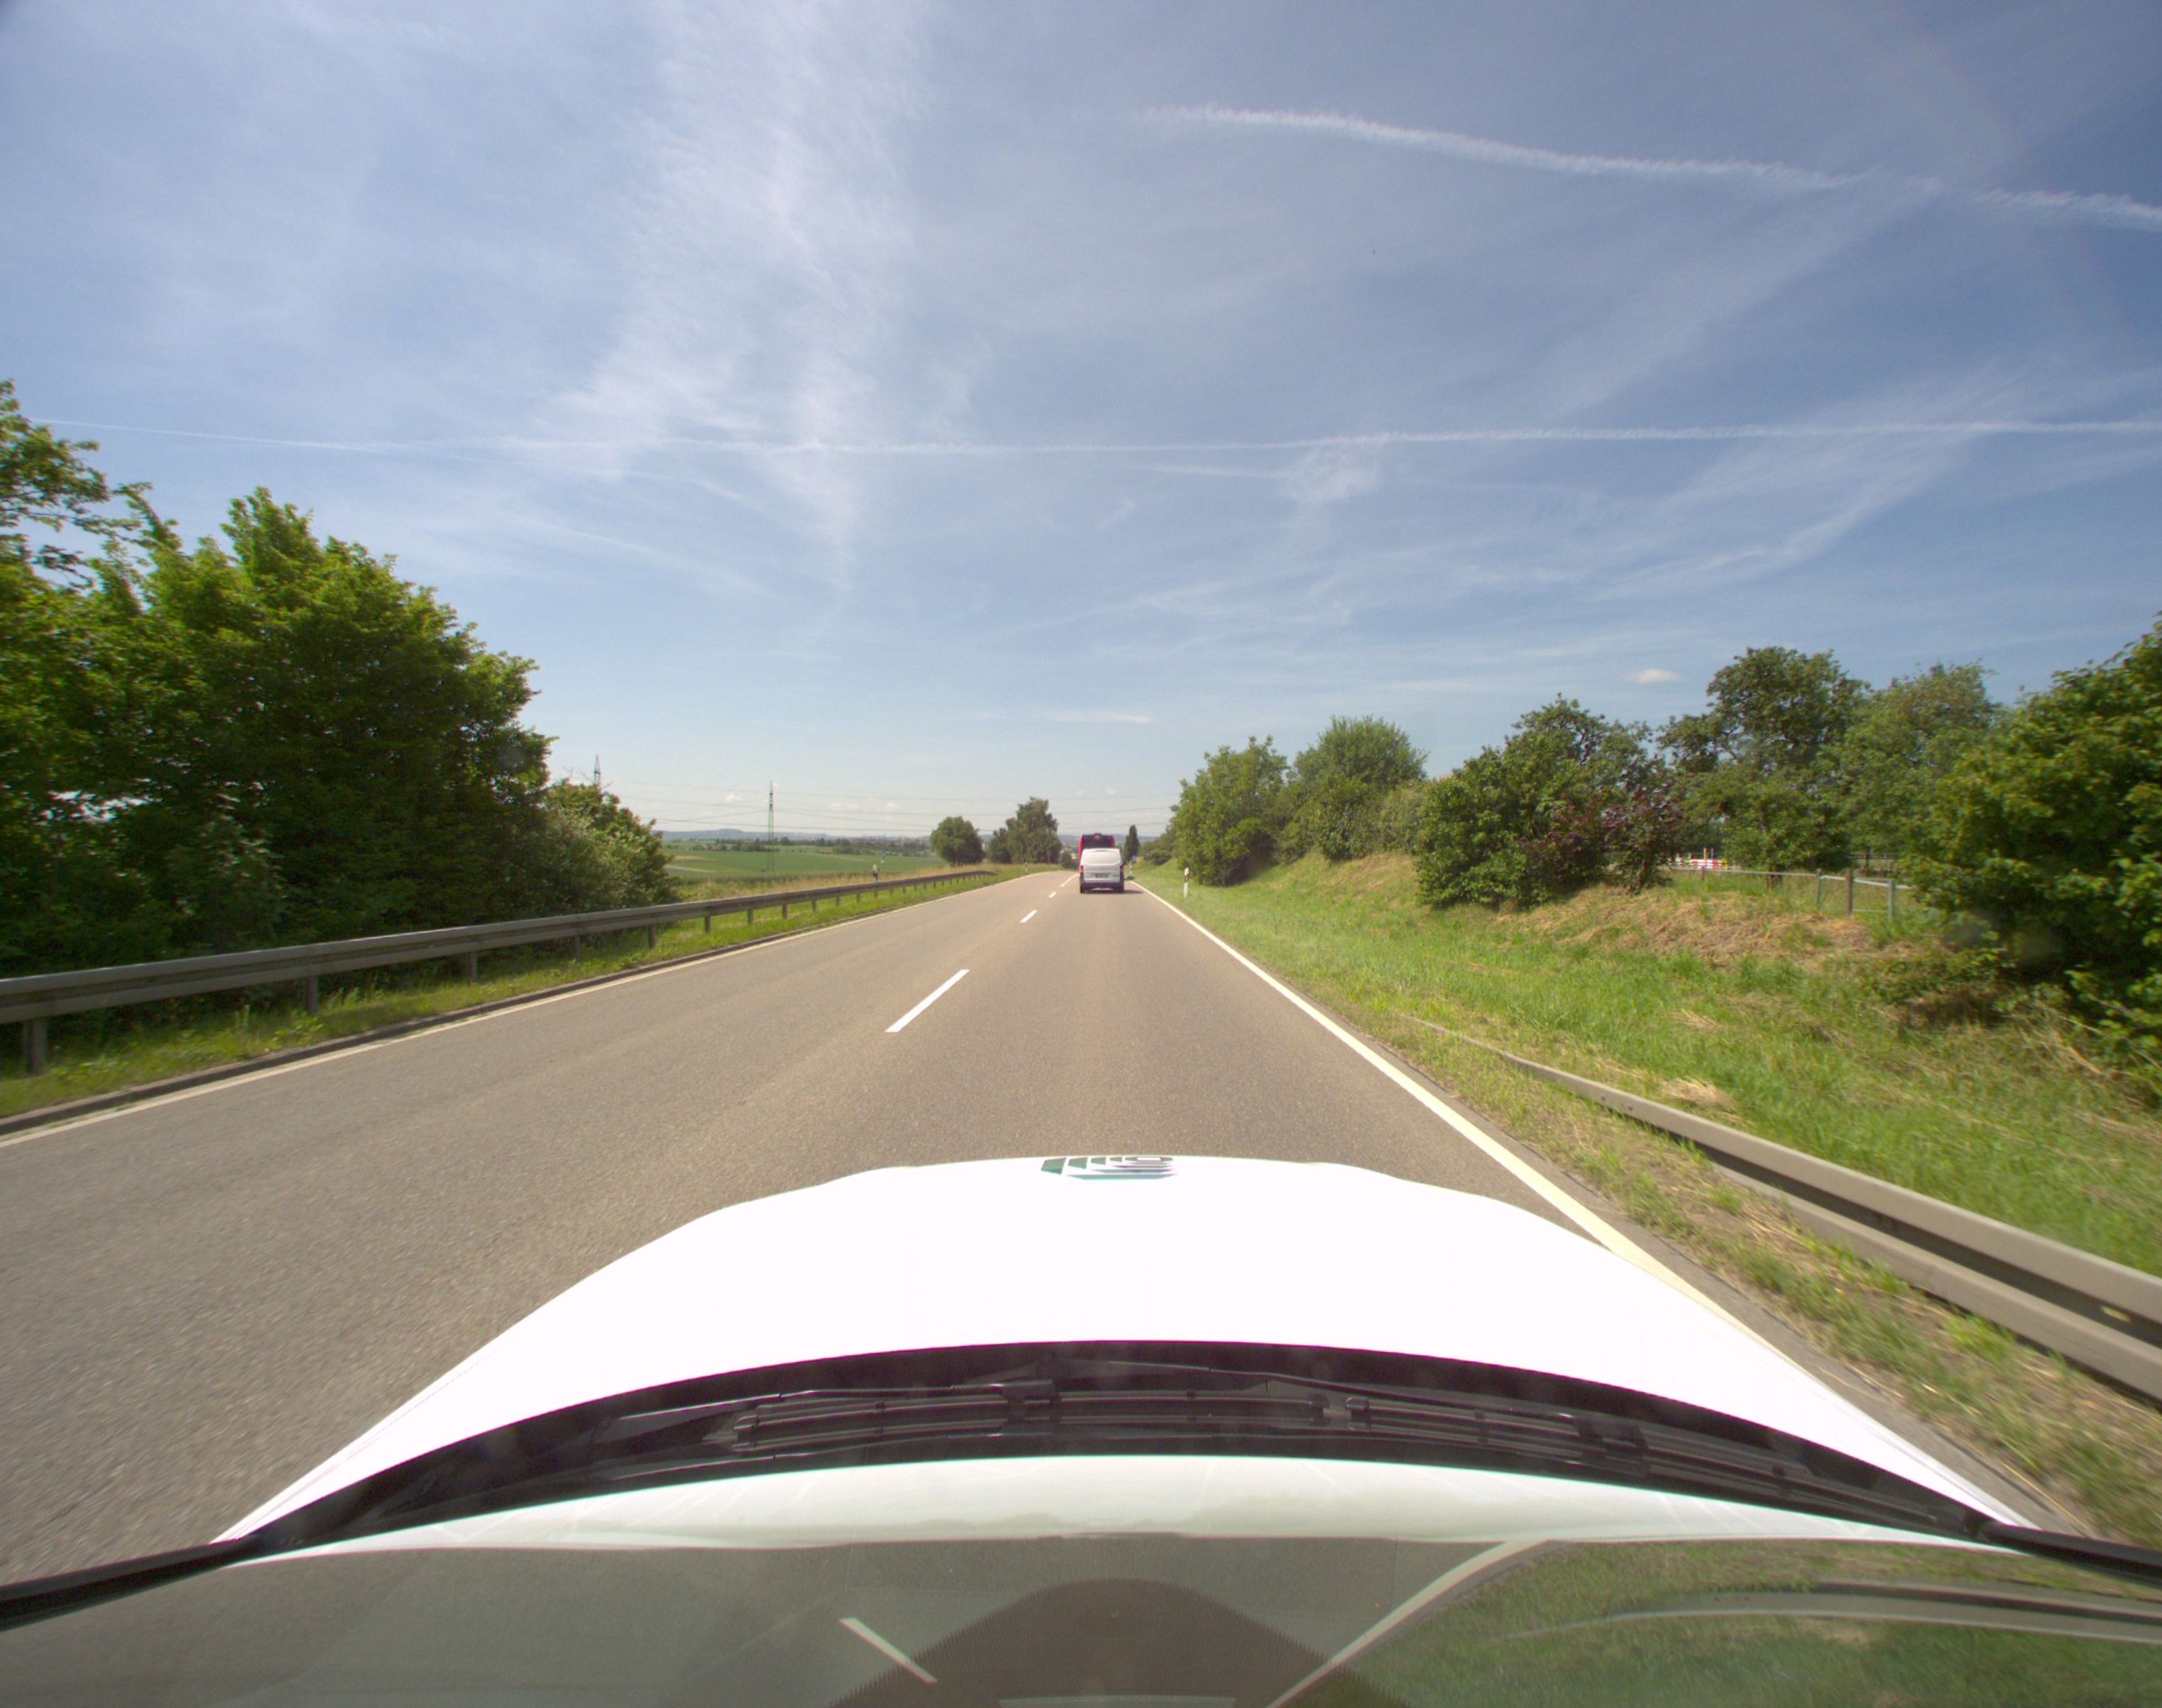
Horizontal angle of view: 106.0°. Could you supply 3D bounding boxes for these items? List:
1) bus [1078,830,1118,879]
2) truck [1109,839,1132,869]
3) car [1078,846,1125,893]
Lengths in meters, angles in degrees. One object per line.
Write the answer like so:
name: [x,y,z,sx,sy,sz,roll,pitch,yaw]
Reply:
bus: [1.245,-0.042,63.338,2.738,3.353,13.222,-1,1,0]
truck: [6.214,0.073,129.352,3.475,4.423,14.908,0,-1,2]
car: [0.897,0.610,35.367,1.916,1.889,4.002,0,1,2]
